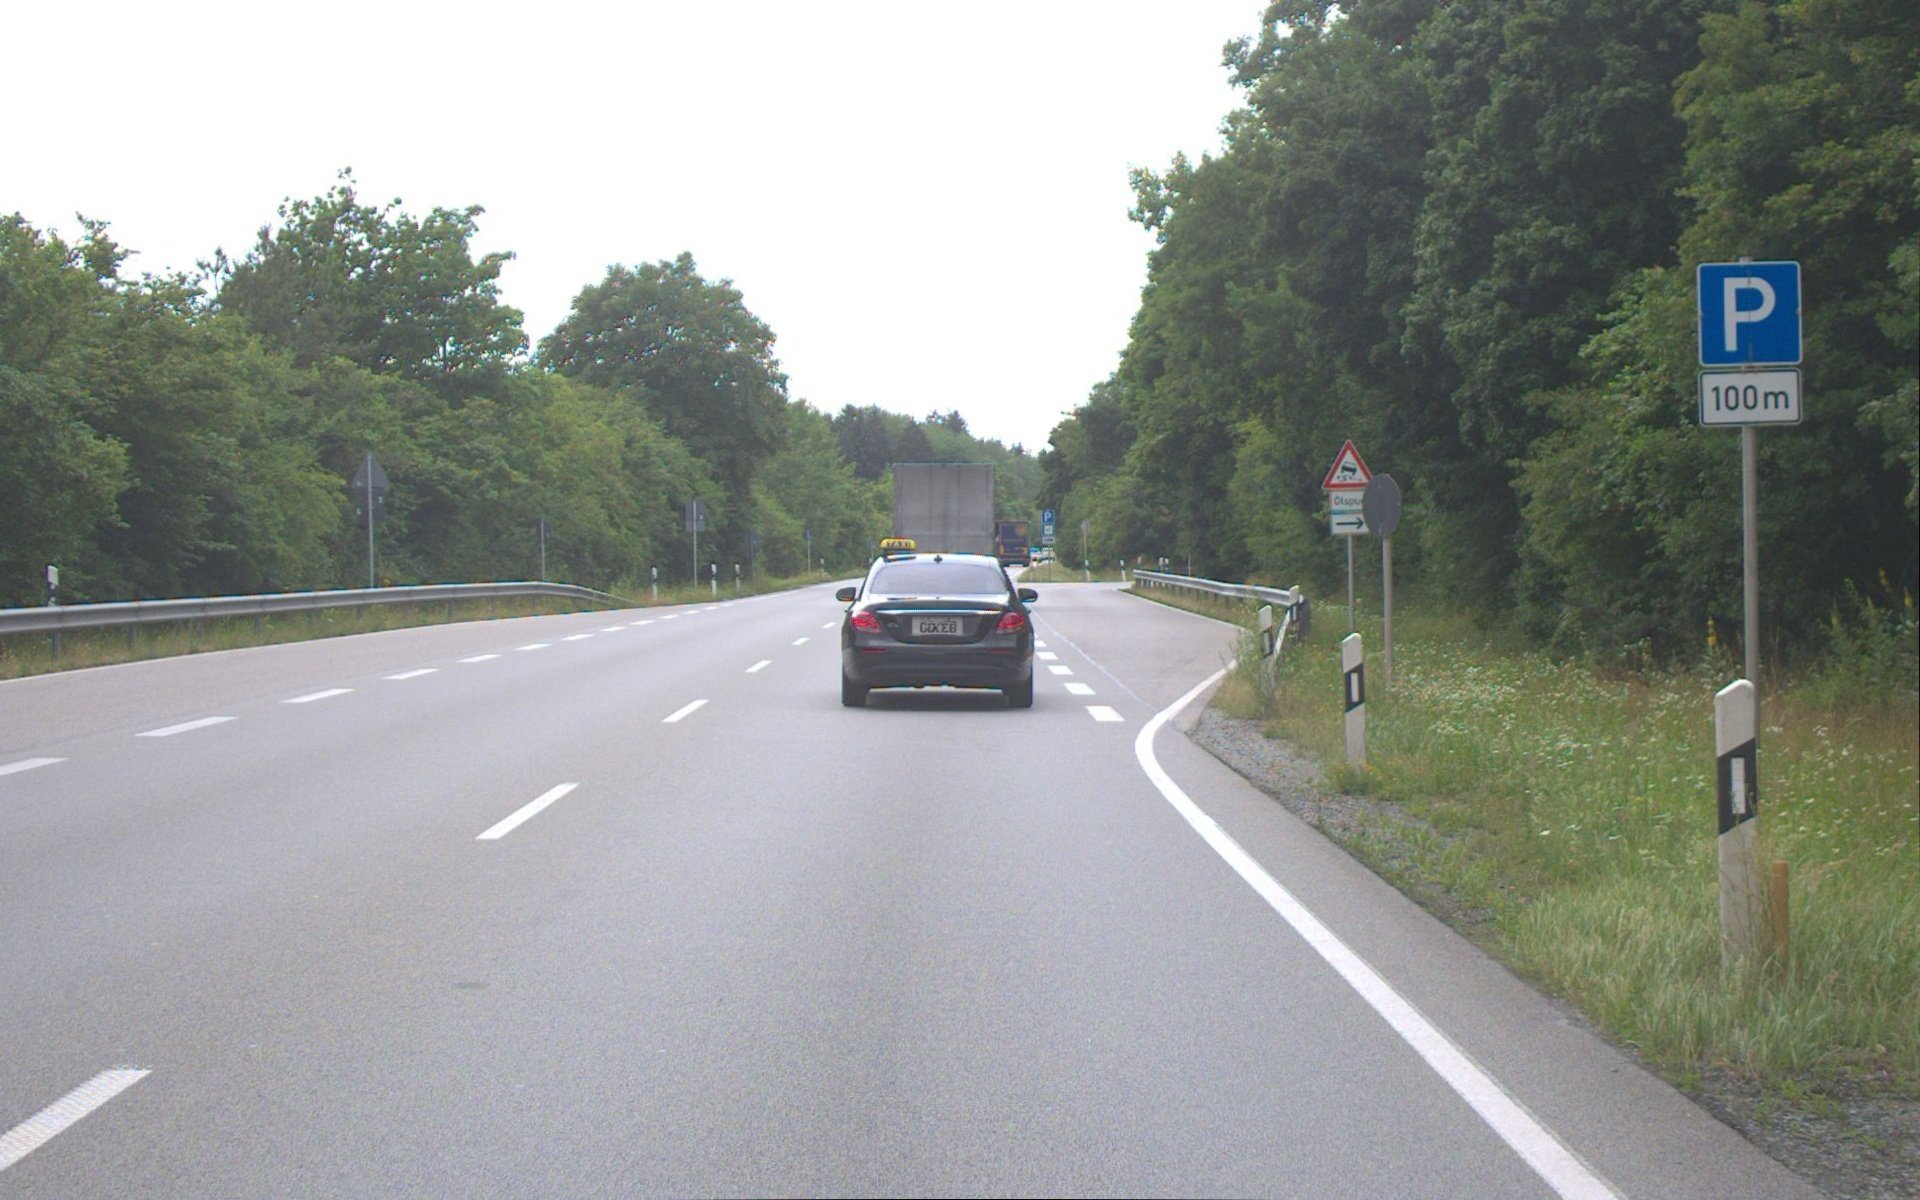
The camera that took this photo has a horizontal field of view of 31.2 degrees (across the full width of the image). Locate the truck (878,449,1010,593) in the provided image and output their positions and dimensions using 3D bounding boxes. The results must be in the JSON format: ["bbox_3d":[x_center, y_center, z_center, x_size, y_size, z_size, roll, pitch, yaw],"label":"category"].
[{"bbox_3d":[-0.485,-2.070,92.002,3.281,3.599,11.400,1,1,-1],"label":"truck"}]

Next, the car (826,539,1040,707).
[{"bbox_3d":[-0.324,0.182,33.740,1.791,1.546,4.001,0,1,-5],"label":"car"}]
